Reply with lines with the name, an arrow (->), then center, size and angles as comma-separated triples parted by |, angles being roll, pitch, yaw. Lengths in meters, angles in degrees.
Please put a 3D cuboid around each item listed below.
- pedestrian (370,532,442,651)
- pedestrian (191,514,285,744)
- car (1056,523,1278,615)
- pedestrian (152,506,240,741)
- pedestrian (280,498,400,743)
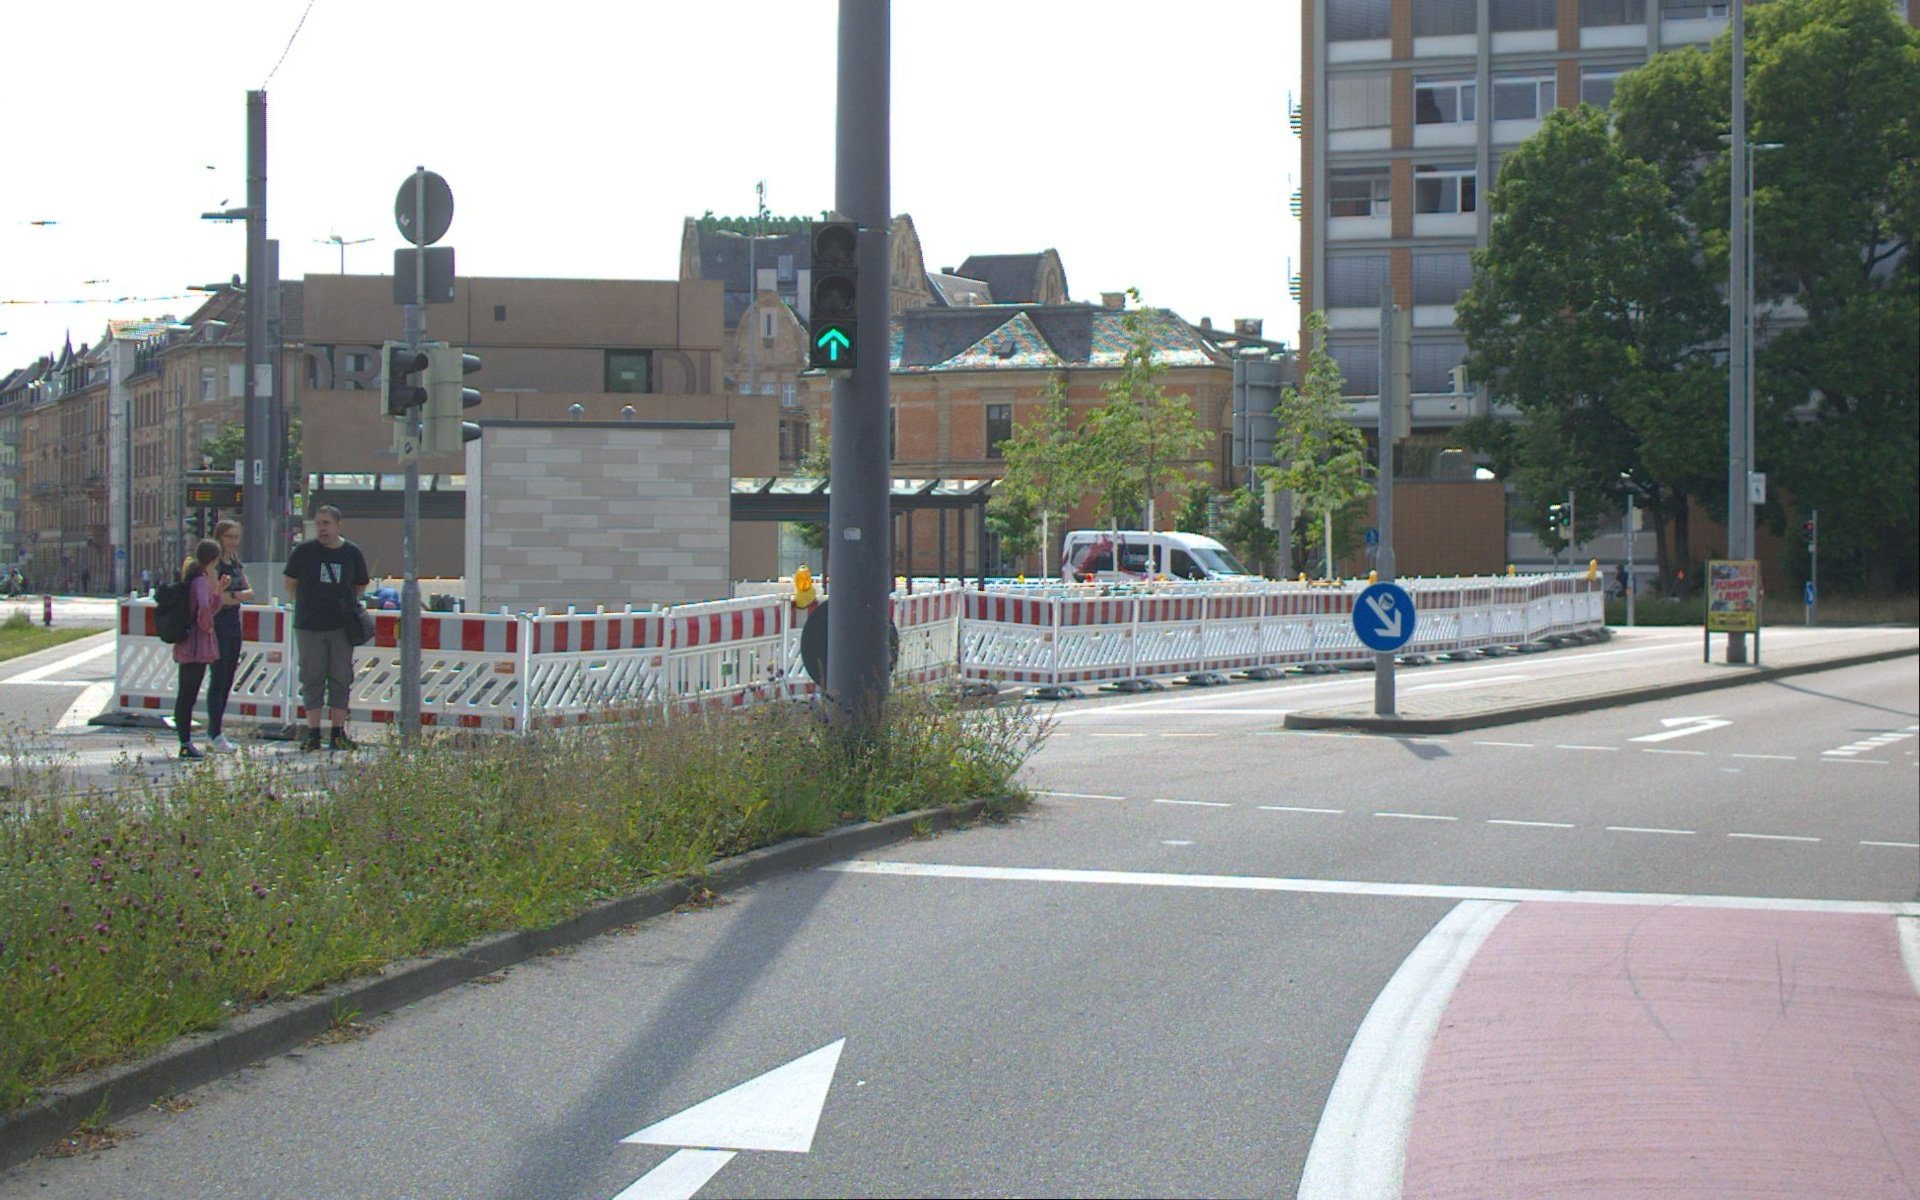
pedestrian -> -8.482, -0.132, 52.593 | 0.933, 1.784, 1.179 | 1, 0, -15
pedestrian -> -5.515, 0.214, 26.259 | 0.409, 1.730, 0.620 | 0, 1, 26
car -> 5.364, -0.803, 89.543 | 5.584, 2.311, 2.296 | 0, 0, 43
pedestrian -> -5.596, 0.165, 25.195 | 0.611, 1.701, 0.623 | 0, 0, -11
pedestrian -> -4.837, 0.156, 26.814 | 0.791, 1.878, 0.613 | 0, 1, -25
